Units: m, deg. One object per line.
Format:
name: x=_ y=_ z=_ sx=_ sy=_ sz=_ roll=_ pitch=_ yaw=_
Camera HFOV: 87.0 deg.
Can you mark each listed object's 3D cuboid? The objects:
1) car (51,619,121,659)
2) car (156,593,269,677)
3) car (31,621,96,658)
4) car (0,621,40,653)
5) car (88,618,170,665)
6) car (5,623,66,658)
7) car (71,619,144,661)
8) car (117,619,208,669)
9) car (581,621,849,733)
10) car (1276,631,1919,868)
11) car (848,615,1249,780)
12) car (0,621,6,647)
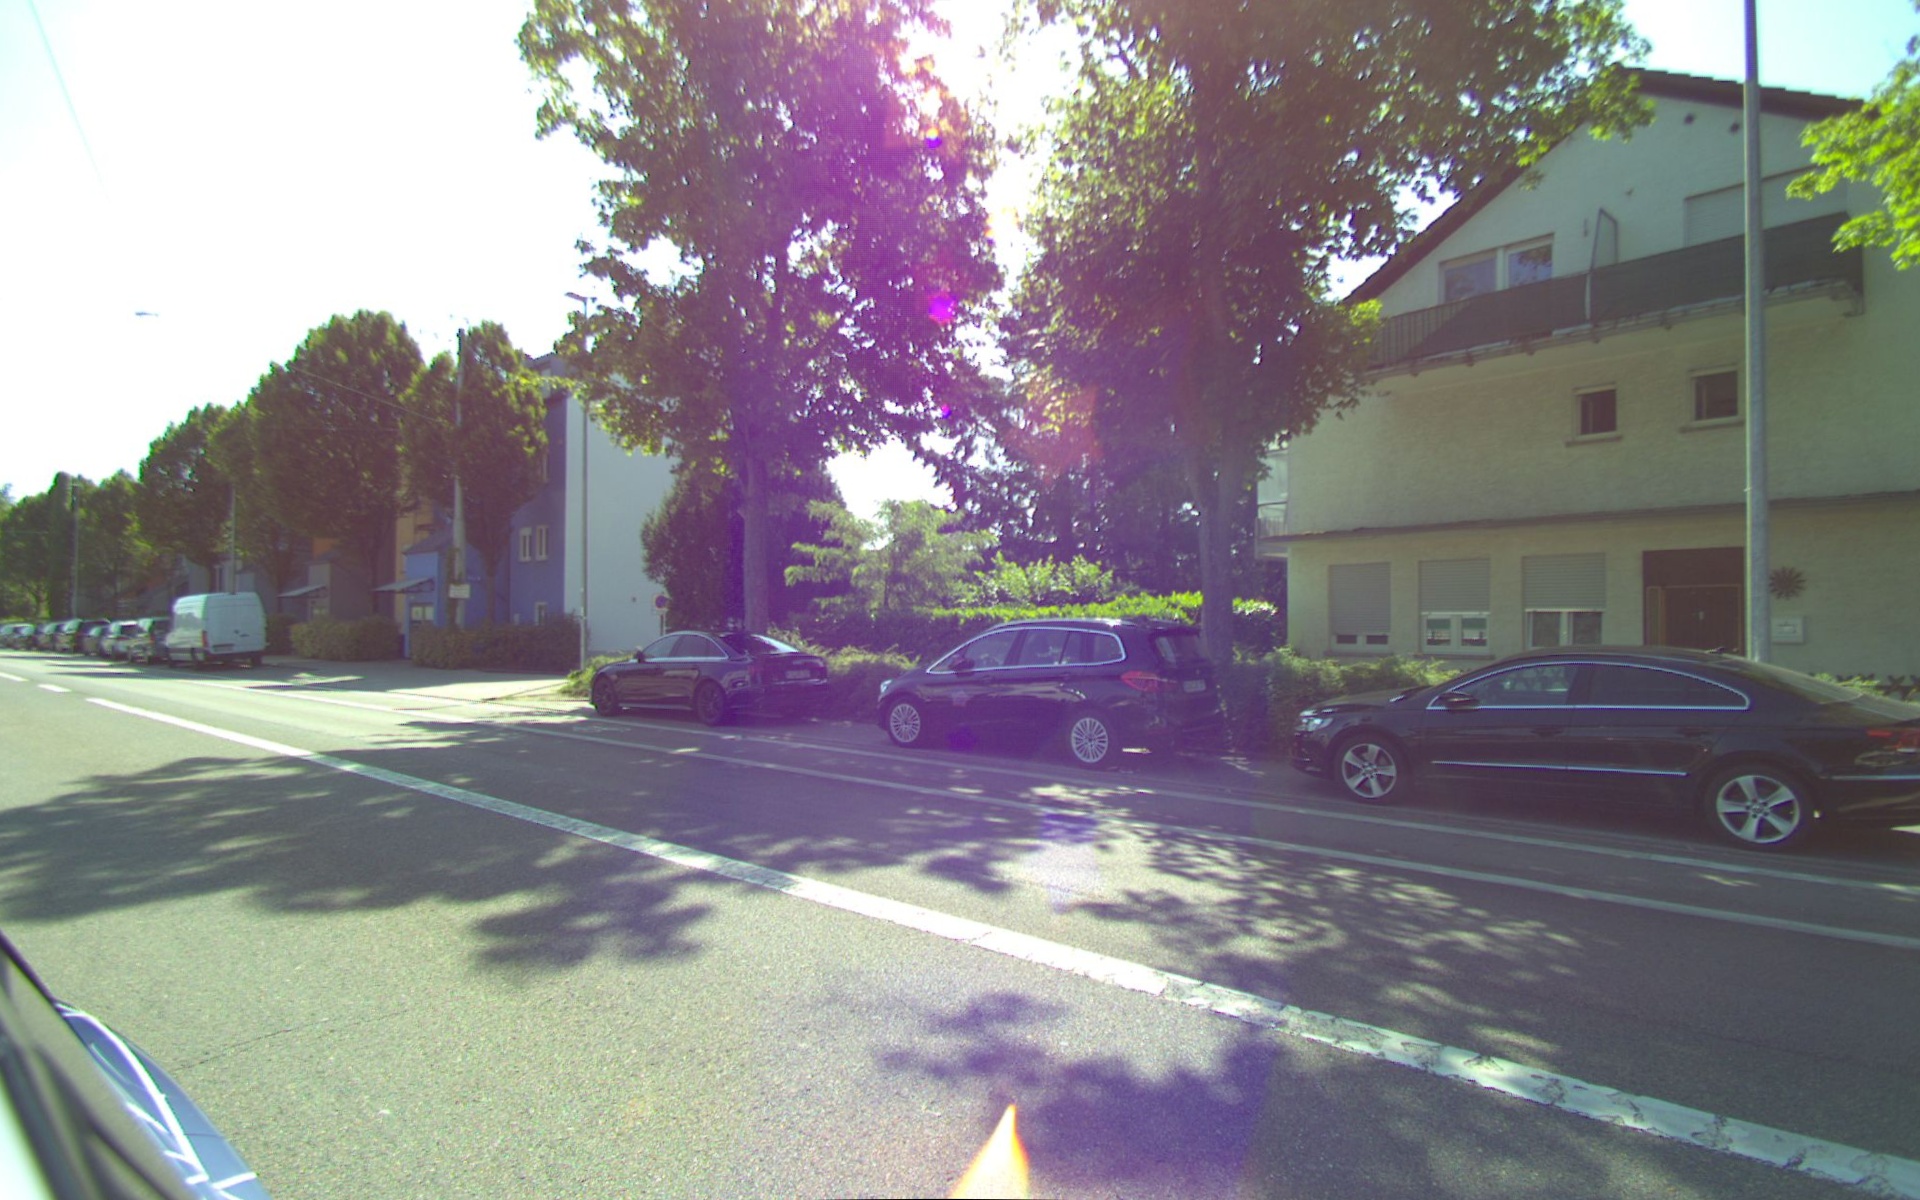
car: x=-45.833 y=2.048 z=53.051 sx=4.766 sy=1.818 sz=1.974 roll=-2 pitch=4 yaw=41
car: x=-27.373 y=1.236 z=36.950 sx=6.213 sy=2.713 sz=1.973 roll=-2 pitch=4 yaw=43
car: x=-50.229 y=2.188 z=56.676 sx=4.766 sy=1.818 sz=1.974 roll=-2 pitch=4 yaw=41
car: x=-60.224 y=2.346 z=64.249 sx=4.766 sy=1.818 sz=1.974 roll=-2 pitch=4 yaw=41
car: x=-38.056 y=1.873 z=46.316 sx=4.766 sy=1.818 sz=1.974 roll=-2 pitch=4 yaw=41
car: x=-54.906 y=2.373 z=60.096 sx=4.766 sy=1.818 sz=1.974 roll=-2 pitch=4 yaw=41
car: x=-42.126 y=1.944 z=49.990 sx=4.254 sy=1.818 sz=1.974 roll=-2 pitch=4 yaw=41
car: x=-33.519 y=1.807 z=42.499 sx=4.766 sy=1.818 sz=1.974 roll=-2 pitch=4 yaw=41
car: x=-4.083 y=1.153 z=16.506 sx=4.616 sy=1.583 sz=1.845 roll=-1 pitch=-2 yaw=39
car: x=5.226 y=1.009 z=8.399 sx=4.619 sy=1.426 sz=1.844 roll=-1 pitch=0 yaw=41
car: x=0.905 y=1.015 z=12.208 sx=4.619 sy=1.583 sz=1.844 roll=-1 pitch=0 yaw=41
car: x=-68.768 y=2.489 z=71.049 sx=4.766 sy=1.818 sz=1.974 roll=-2 pitch=4 yaw=41
